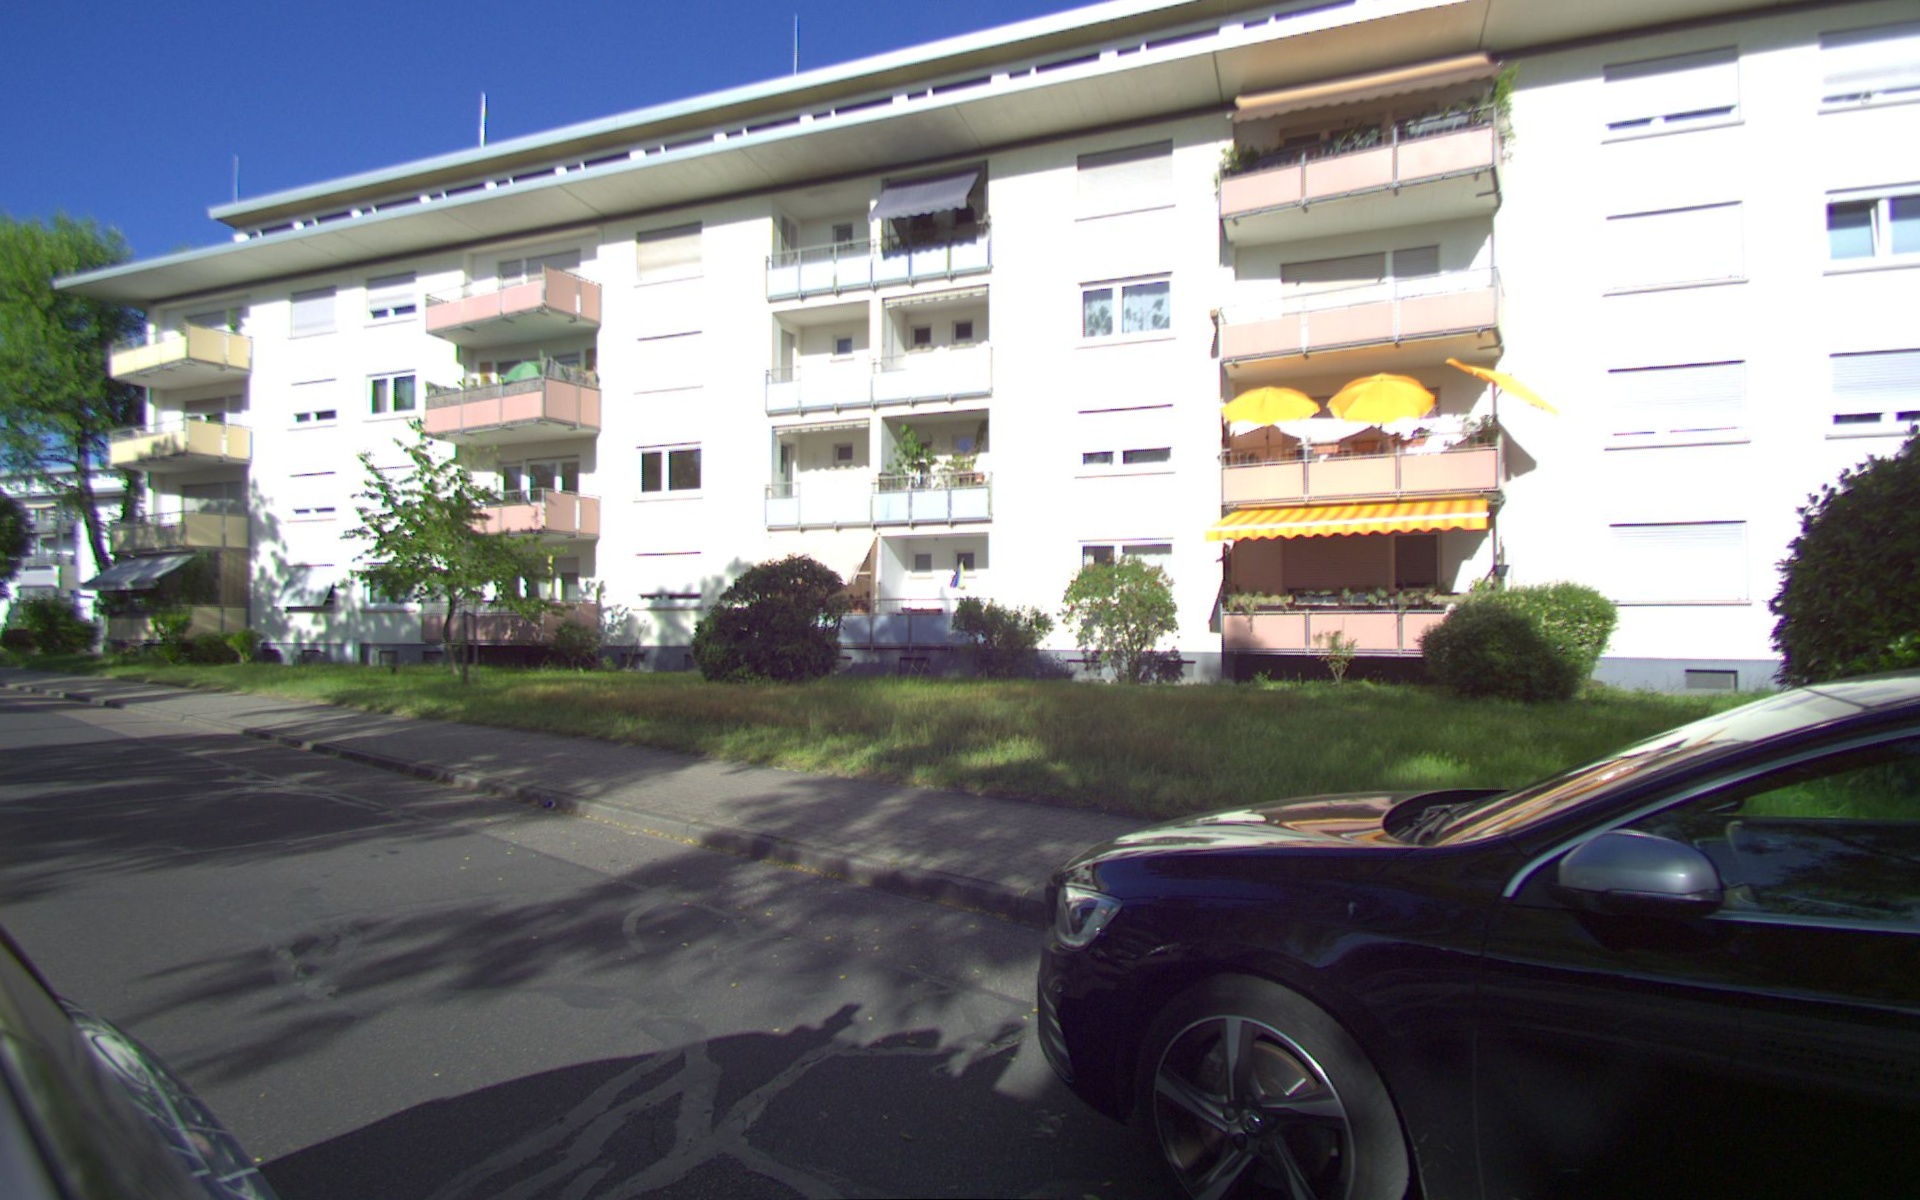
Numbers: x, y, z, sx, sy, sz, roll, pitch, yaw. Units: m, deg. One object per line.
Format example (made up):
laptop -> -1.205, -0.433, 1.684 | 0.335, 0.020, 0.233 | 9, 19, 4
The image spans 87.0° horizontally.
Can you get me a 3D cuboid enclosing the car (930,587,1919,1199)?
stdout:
car -> 2.340, 0.758, 2.088 | 4.796, 1.493, 1.821 | -1, -3, 39
